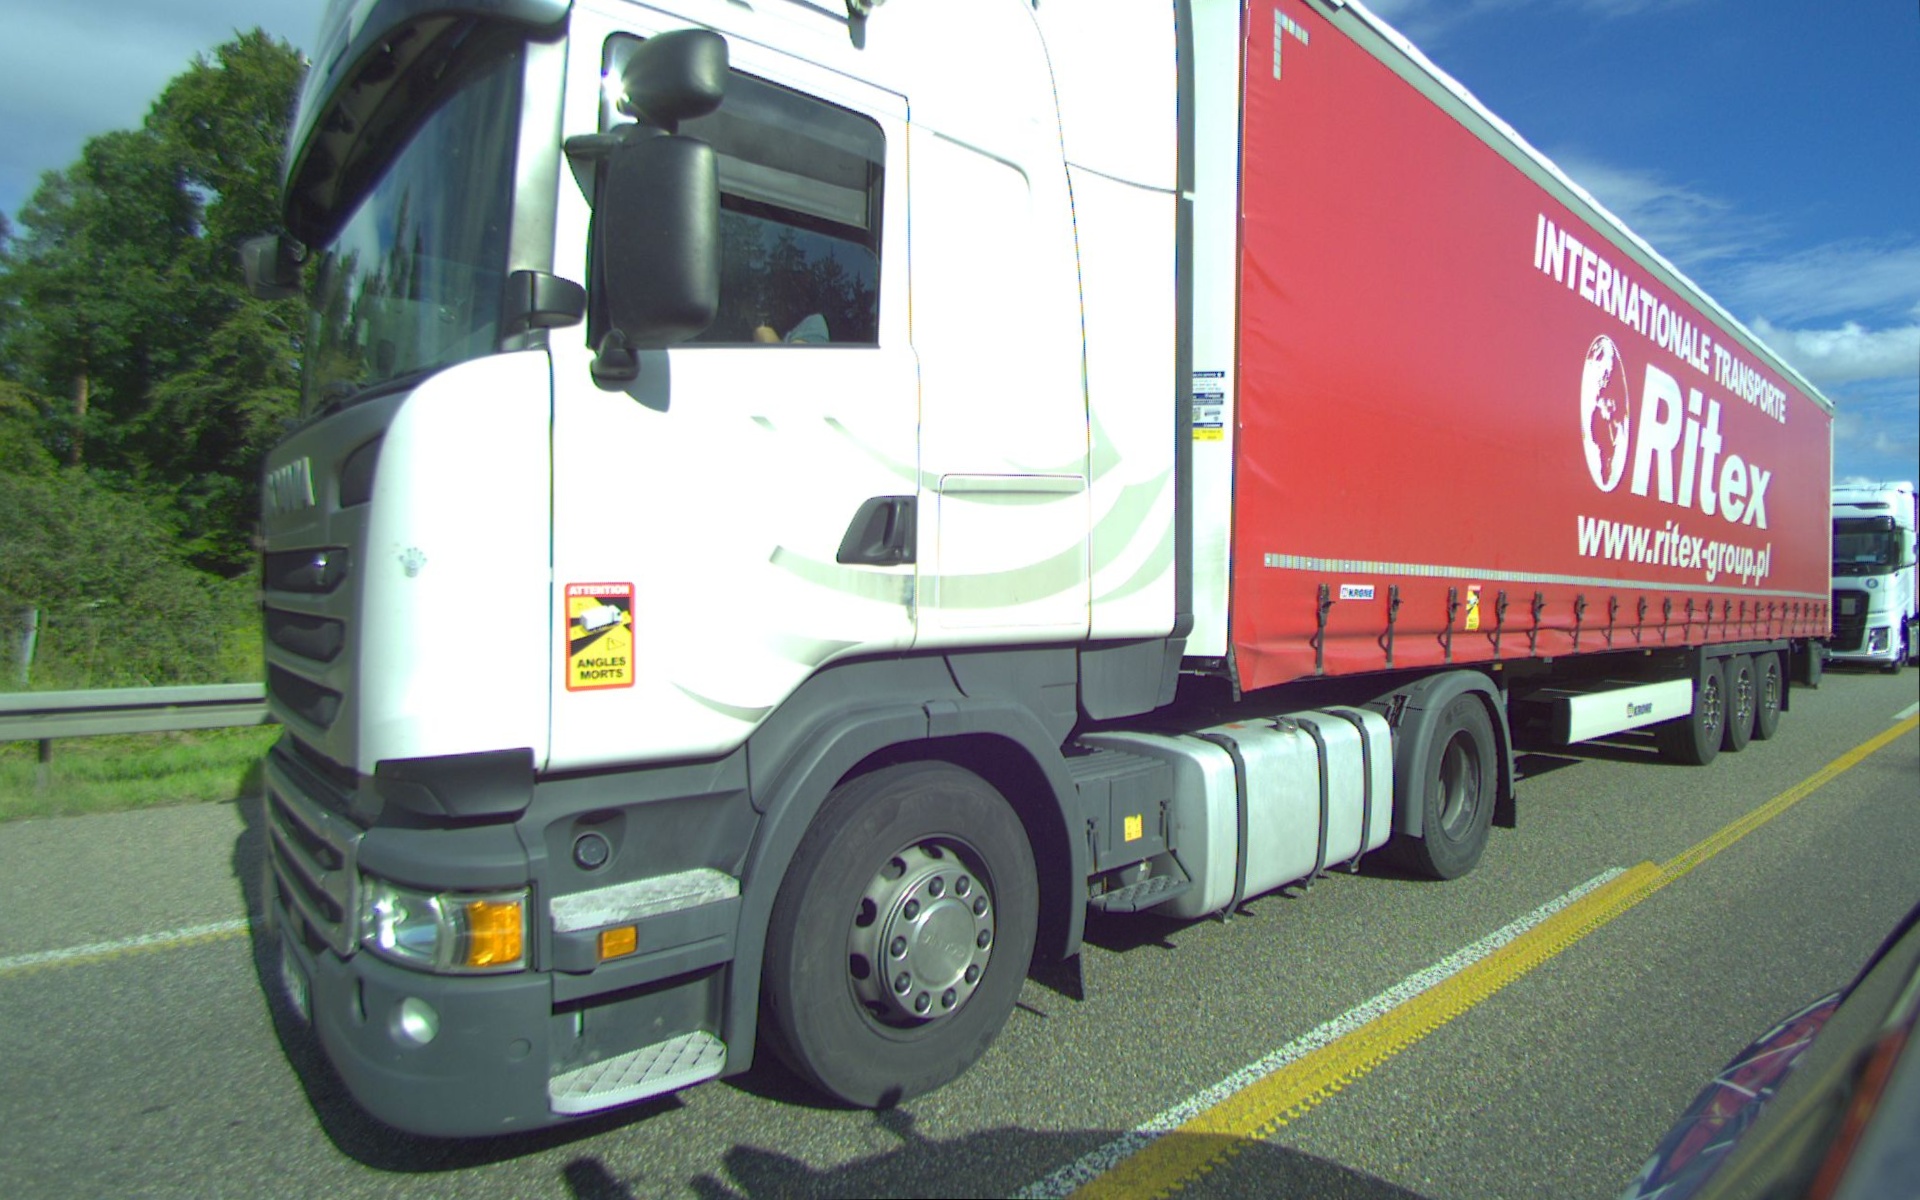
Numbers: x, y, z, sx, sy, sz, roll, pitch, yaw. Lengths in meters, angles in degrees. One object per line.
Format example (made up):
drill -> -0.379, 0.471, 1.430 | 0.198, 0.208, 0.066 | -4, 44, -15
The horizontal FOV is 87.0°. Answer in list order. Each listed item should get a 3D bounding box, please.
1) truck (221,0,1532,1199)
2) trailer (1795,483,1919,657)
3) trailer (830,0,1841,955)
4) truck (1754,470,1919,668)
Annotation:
truck -> 0.180, -0.702, 4.696 | 5.612, 4.010, 2.672 | 0, 0, -42
trailer -> 25.051, -0.684, 26.959 | 11.925, 3.822, 2.475 | 0, 0, -41
trailer -> 5.062, -0.747, 9.096 | 13.185, 4.019, 2.704 | 0, 0, -42
truck -> 19.756, -0.629, 22.338 | 5.688, 3.828, 2.499 | 0, 0, -41
